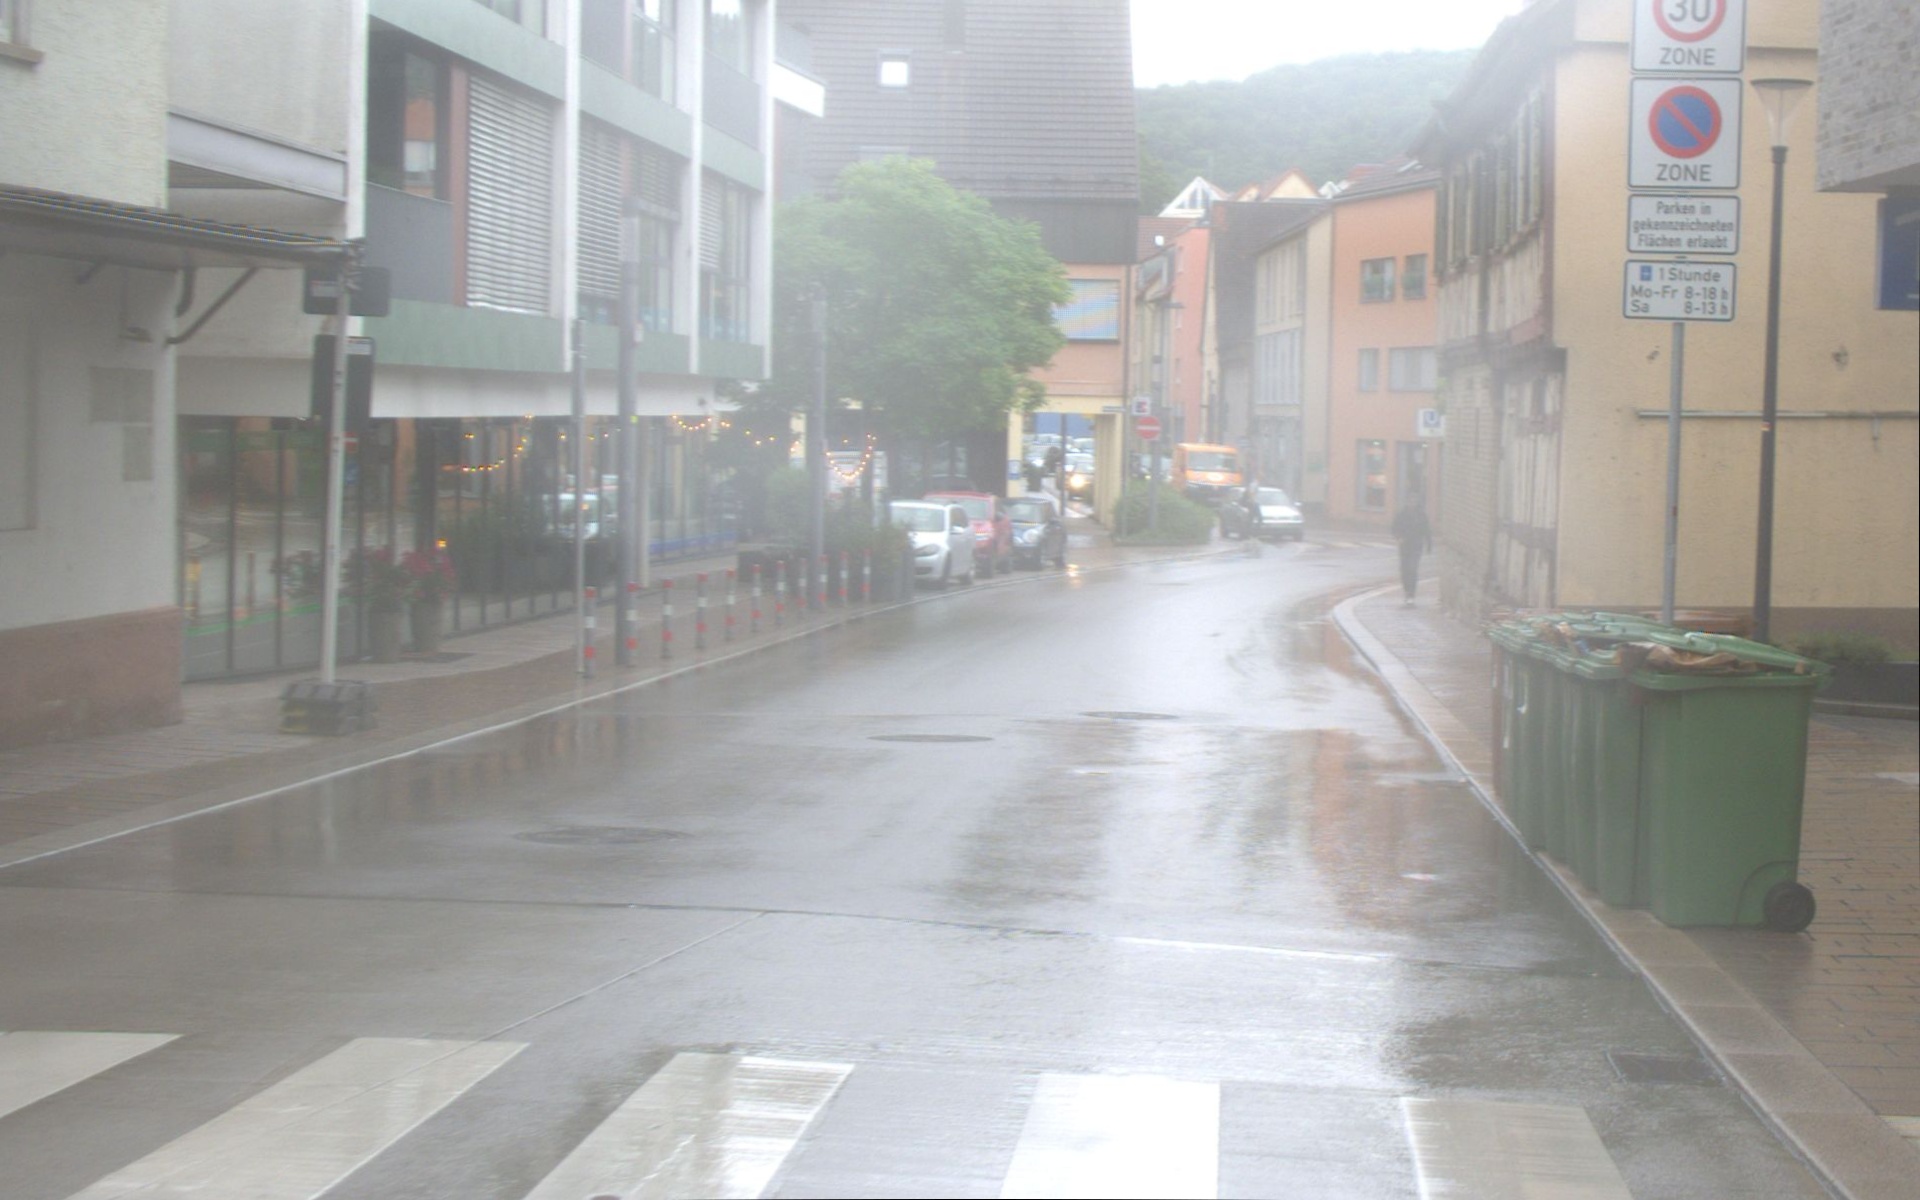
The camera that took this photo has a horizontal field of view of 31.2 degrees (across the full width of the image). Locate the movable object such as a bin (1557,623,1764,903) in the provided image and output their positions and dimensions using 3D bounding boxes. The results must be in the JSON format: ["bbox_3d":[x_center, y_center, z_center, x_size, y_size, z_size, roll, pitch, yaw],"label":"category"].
[{"bbox_3d":[2.862,0.655,14.106,0.740,1.091,0.657,0,2,4],"label":"movable object such as a bin"}]

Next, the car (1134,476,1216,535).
[{"bbox_3d":[5.789,-2.564,92.987,1.714,1.453,3.911,2,3,-3],"label":"car"}]

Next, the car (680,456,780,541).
[{"bbox_3d":[-5.662,-2.536,84.875,1.812,1.611,4.001,1,8,6],"label":"car"}]

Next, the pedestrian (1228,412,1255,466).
[{"bbox_3d":[10.648,-6.086,129.967,0.866,2.006,0.708,1,3,-4],"label":"pedestrian"}]

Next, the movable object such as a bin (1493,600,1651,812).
[{"bbox_3d":[3.258,0.557,18.343,0.766,1.091,0.581,0,2,4],"label":"movable object such as a bin"}]

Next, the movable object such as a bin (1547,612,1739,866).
[{"bbox_3d":[3.037,0.609,15.341,0.766,1.091,0.581,0,2,4],"label":"movable object such as a bin"}]

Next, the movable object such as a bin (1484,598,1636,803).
[{"bbox_3d":[3.298,0.545,18.935,0.766,1.091,0.581,0,2,4],"label":"movable object such as a bin"}]

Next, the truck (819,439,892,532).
[{"bbox_3d":[-2.588,-2.879,85.710,1.597,2.055,3.194,-1,7,1],"label":"truck"}]

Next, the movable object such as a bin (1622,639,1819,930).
[{"bbox_3d":[2.973,0.713,13.478,0.663,1.091,0.551,0,2,3],"label":"movable object such as a bin"}]

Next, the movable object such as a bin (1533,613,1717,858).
[{"bbox_3d":[3.072,0.616,15.928,0.766,1.091,0.581,0,2,4],"label":"movable object such as a bin"}]

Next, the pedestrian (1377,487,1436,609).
[{"bbox_3d":[6.963,-0.824,53.644,0.810,1.878,0.908,-1,2,2],"label":"pedestrian"}]

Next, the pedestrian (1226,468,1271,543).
[{"bbox_3d":[7.459,-2.444,88.869,0.862,1.908,0.757,2,3,28],"label":"pedestrian"}]

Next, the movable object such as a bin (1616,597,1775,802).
[{"bbox_3d":[4.036,0.537,18.903,0.766,1.091,0.627,0,2,4],"label":"movable object such as a bin"}]

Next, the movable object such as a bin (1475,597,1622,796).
[{"bbox_3d":[3.338,0.540,19.534,0.766,1.091,0.581,0,2,4],"label":"movable object such as a bin"}]

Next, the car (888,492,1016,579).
[{"bbox_3d":[-0.112,-1.246,64.950,1.787,1.571,4.106,1,2,9],"label":"car"}]

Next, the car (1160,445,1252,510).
[{"bbox_3d":[8.421,-4.208,118.141,2.103,2.139,4.869,-1,2,-8],"label":"car"}]

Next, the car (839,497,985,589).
[{"bbox_3d":[-0.788,-1.018,59.342,1.787,1.493,4.453,1,2,9],"label":"car"}]

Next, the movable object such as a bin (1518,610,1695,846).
[{"bbox_3d":[3.100,0.604,16.527,0.766,1.091,0.581,0,2,4],"label":"movable object such as a bin"}]

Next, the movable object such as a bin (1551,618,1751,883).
[{"bbox_3d":[2.954,0.632,14.742,0.766,1.091,0.581,0,2,4],"label":"movable object such as a bin"}]

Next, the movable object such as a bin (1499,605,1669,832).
[{"bbox_3d":[3.103,0.580,17.138,0.766,1.091,0.581,0,2,4],"label":"movable object such as a bin"}]

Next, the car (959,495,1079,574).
[{"bbox_3d":[1.224,-1.348,69.812,1.715,1.453,3.909,3,3,11],"label":"car"}]

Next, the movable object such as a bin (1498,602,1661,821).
[{"bbox_3d":[3.186,0.565,17.727,0.766,1.091,0.581,0,2,4],"label":"movable object such as a bin"}]

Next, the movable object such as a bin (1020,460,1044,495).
[{"bbox_3d":[2.861,-4.882,136.689,0.834,1.377,0.854,1,3,-5],"label":"movable object such as a bin"}]
